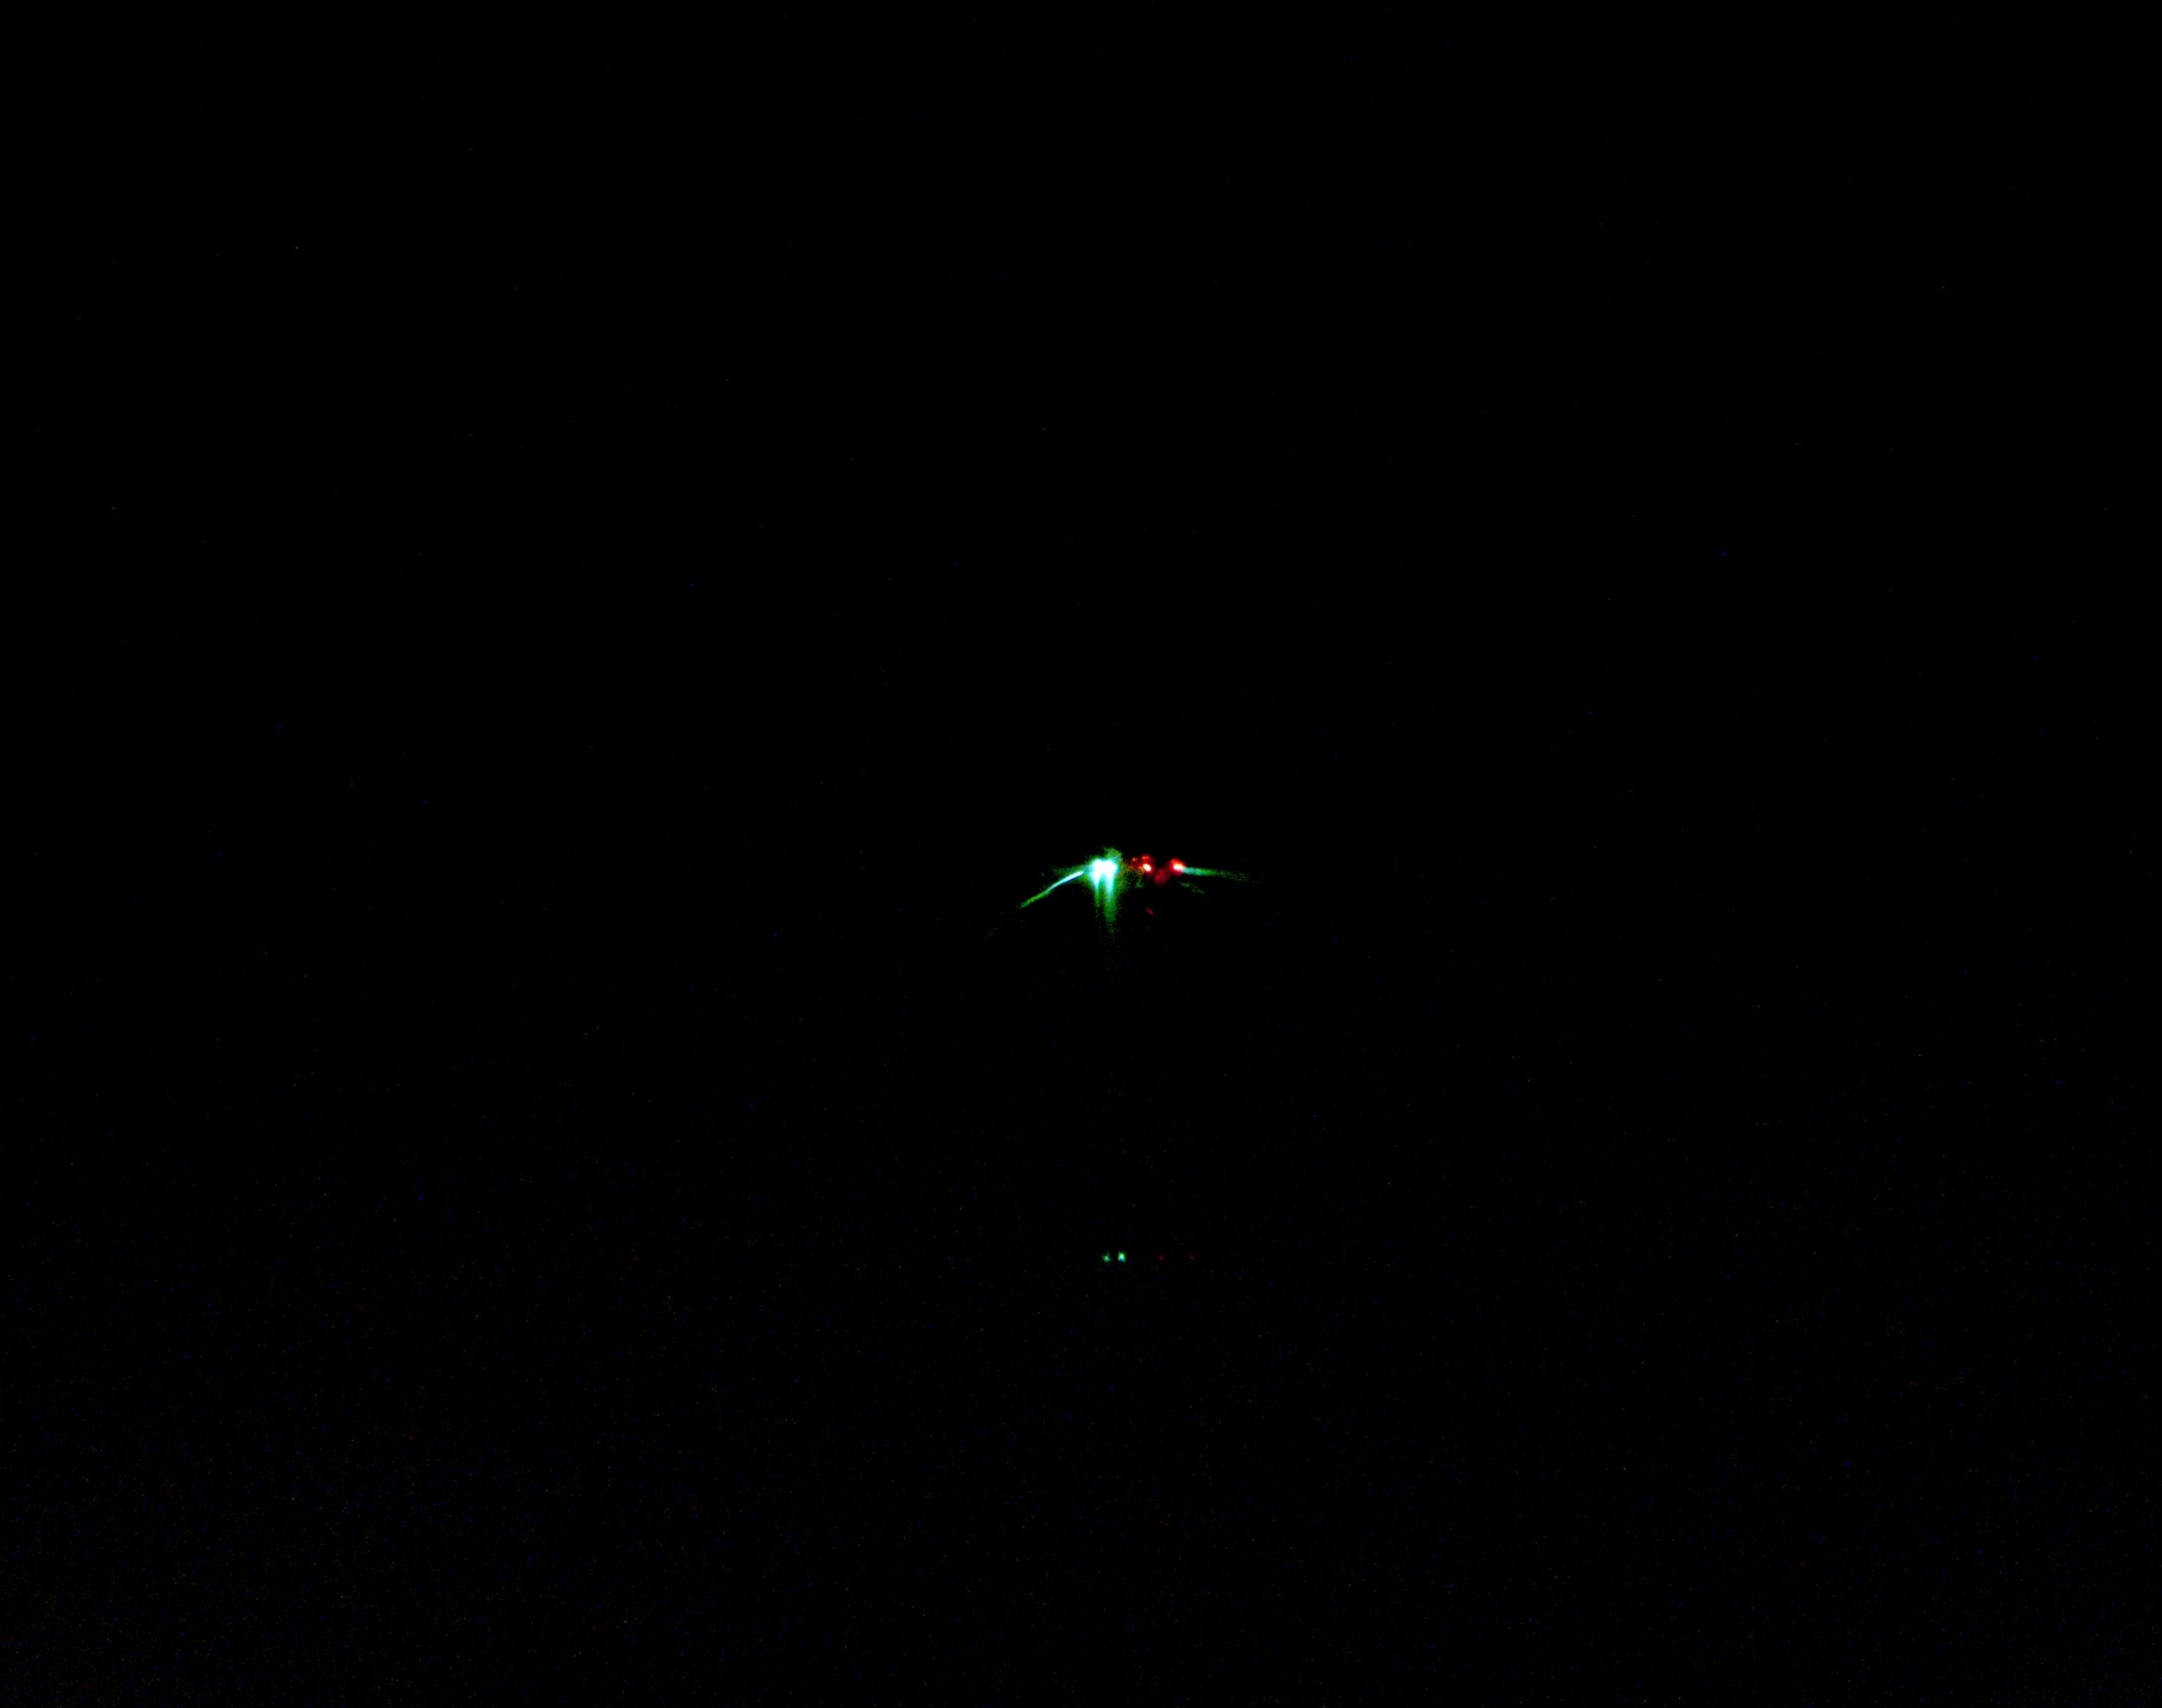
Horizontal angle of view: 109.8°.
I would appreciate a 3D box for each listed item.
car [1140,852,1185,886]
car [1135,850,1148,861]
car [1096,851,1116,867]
[{"bbox_3d":[3.908,0.689,37.118,1.834,1.559,3.780,-2,0,1],"label":"car"},{"bbox_3d":[10.535,0.263,132.747,1.998,1.812,4.001,-2,0,3],"label":"car"},{"bbox_3d":[2.806,0.559,84.313,1.998,1.724,4.001,0,0,5],"label":"car"}]
